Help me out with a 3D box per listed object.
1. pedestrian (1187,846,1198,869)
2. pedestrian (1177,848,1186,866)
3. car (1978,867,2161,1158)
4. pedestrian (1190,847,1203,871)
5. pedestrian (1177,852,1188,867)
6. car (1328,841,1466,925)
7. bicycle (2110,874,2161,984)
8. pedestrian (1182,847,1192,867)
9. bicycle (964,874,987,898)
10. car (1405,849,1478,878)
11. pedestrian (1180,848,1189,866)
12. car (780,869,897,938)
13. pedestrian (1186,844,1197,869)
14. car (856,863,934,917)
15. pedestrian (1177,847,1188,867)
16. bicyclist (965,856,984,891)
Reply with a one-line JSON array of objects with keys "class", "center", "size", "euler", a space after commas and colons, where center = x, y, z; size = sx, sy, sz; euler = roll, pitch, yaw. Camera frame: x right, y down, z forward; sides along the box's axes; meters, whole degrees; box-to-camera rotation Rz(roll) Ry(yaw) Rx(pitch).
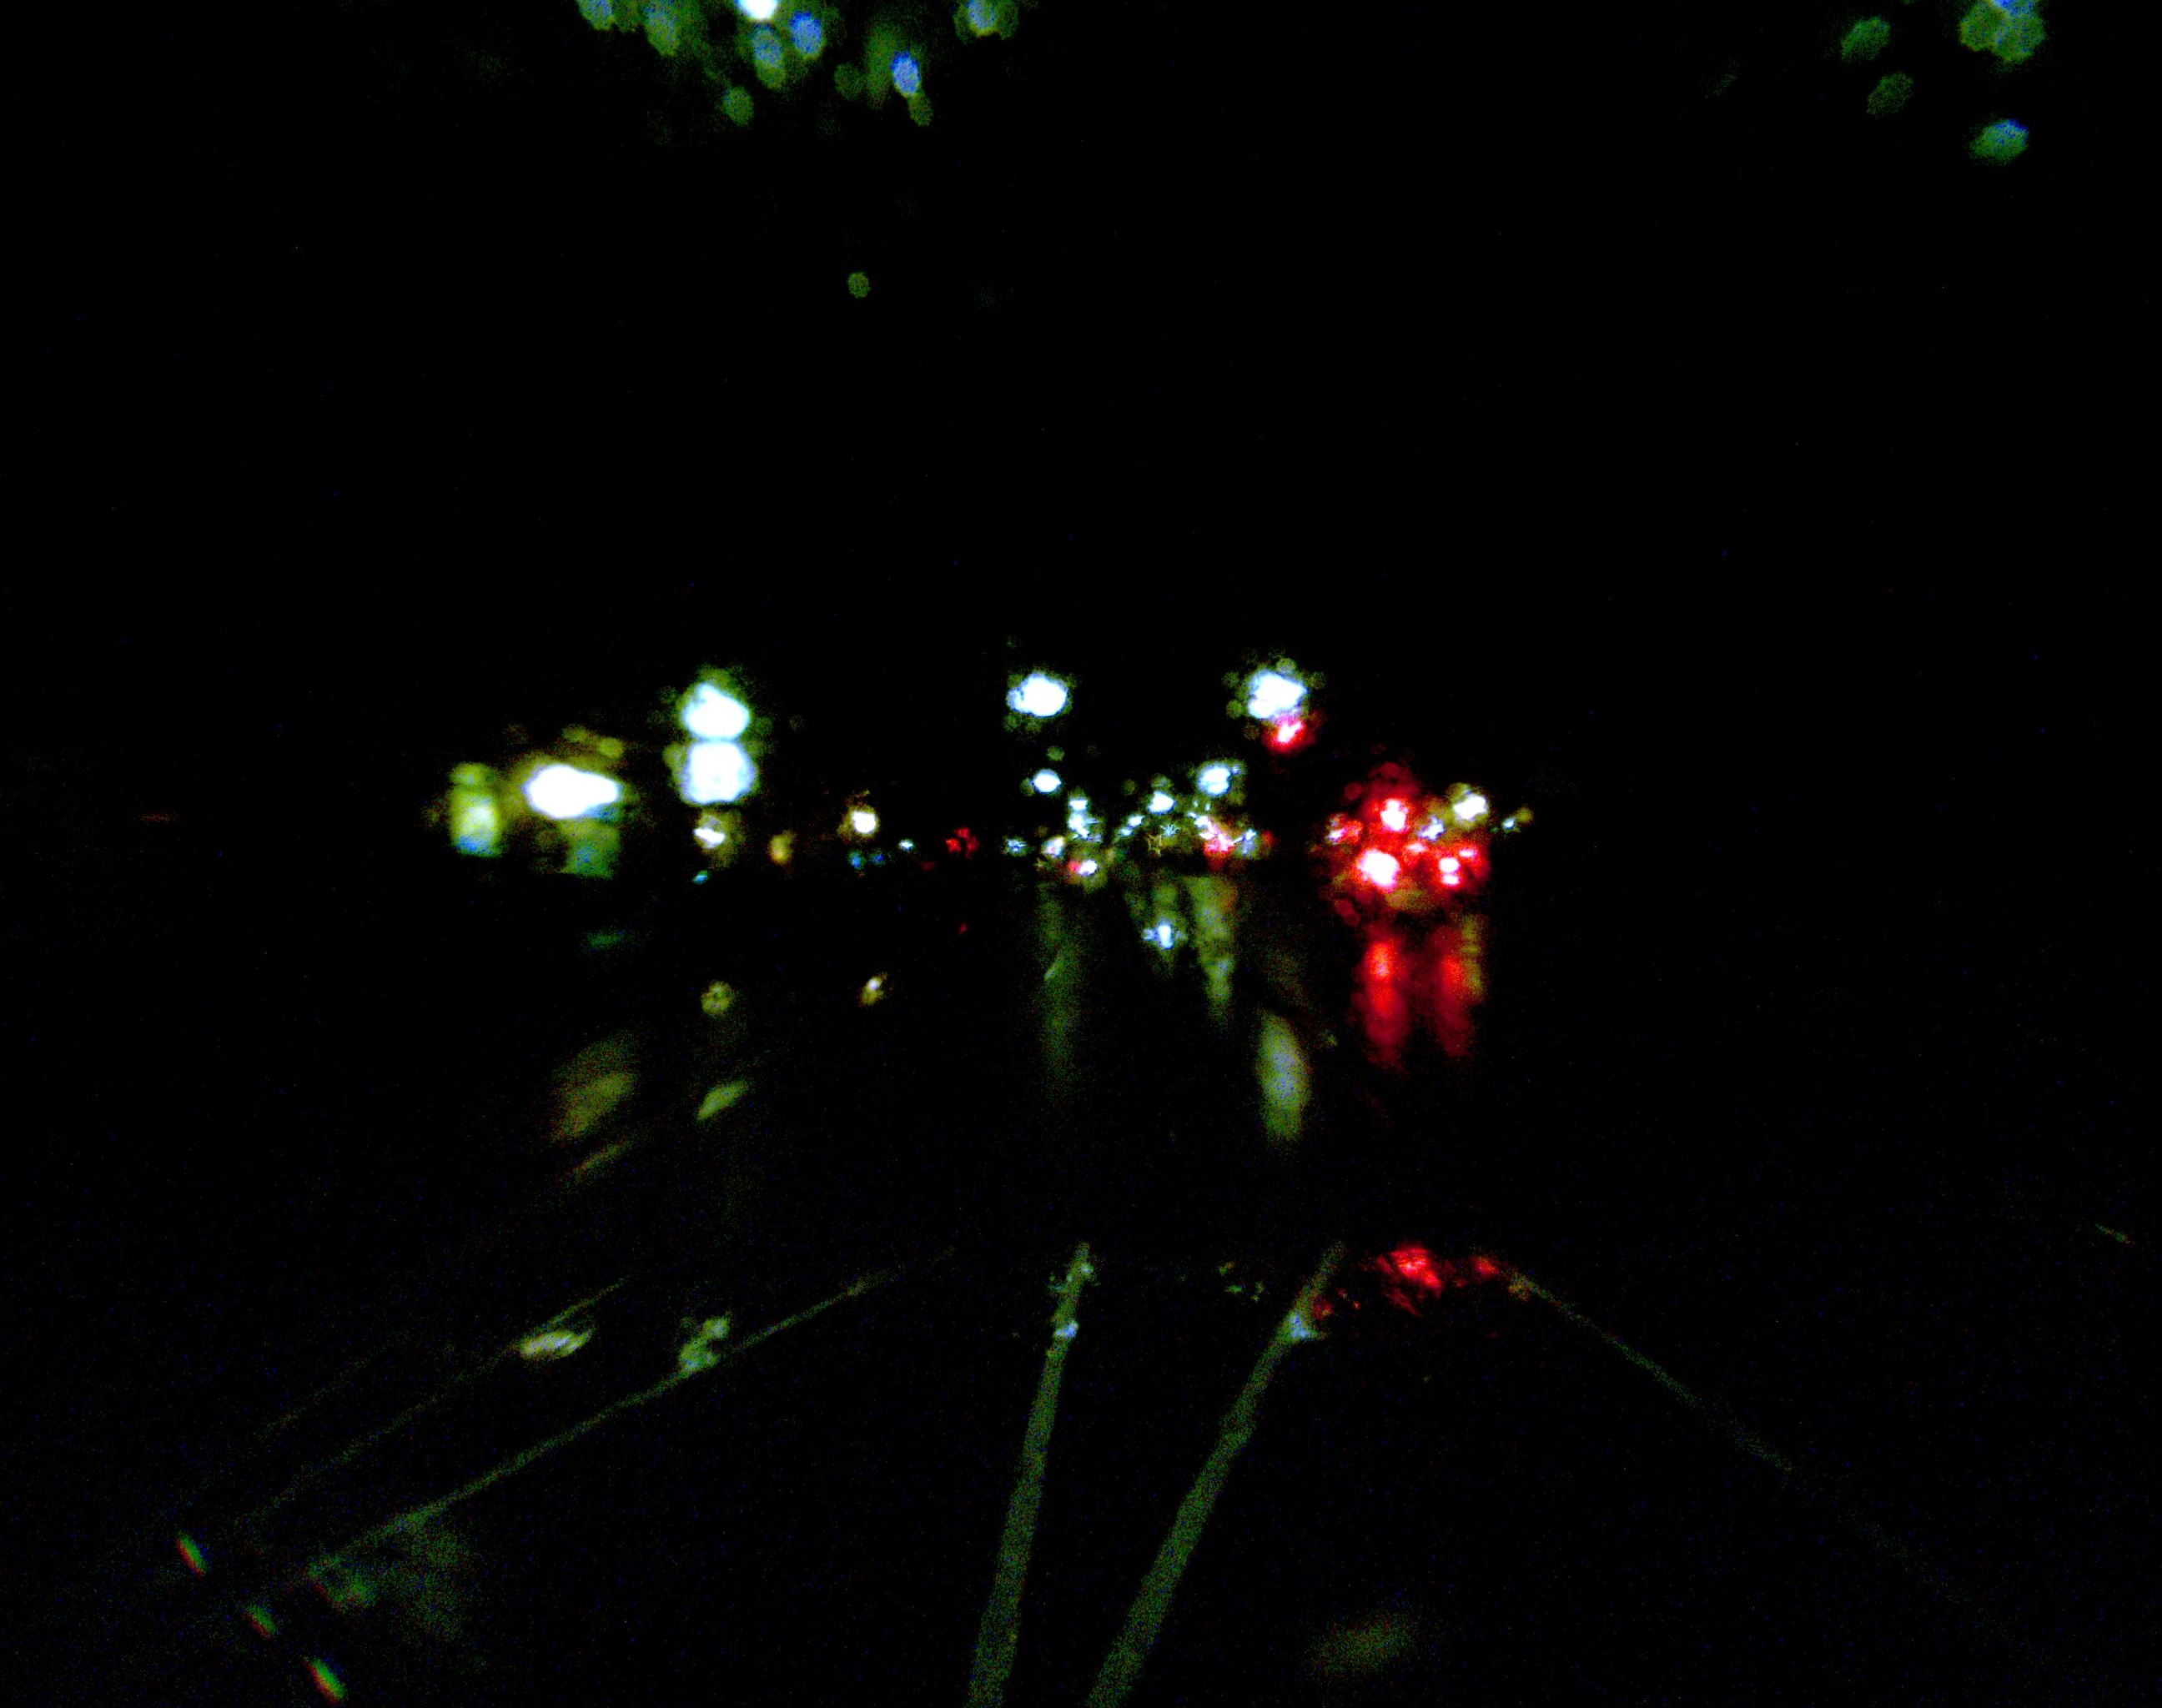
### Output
[{"class": "pedestrian", "center": [8.772, 0.265, 59.667], "size": [0.716, 1.764, 0.671], "euler": [-4, 2, 4]}, {"class": "pedestrian", "center": [8.697, 0.265, 65.815], "size": [0.512, 1.539, 0.574], "euler": [-5, 2, -16]}, {"class": "car", "center": [6.339, 0.807, 2.709], "size": [1.796, 1.456, 3.902], "euler": [-2, 0, 4]}, {"class": "pedestrian", "center": [8.748, 0.406, 57.552], "size": [0.671, 1.764, 0.716], "euler": [-4, 2, -8]}, {"class": "pedestrian", "center": [8.562, 0.452, 64.172], "size": [0.586, 1.246, 0.623], "euler": [-6, 2, -42]}, {"class": "car", "center": [7.767, 0.619, 19.186], "size": [1.899, 1.858, 4.537], "euler": [-1, 1, 5]}, {"class": "bicycle", "center": [11.925, 0.831, 7.633], "size": [0.656, 1.135, 1.898], "euler": [-4, 1, 5]}, {"class": "pedestrian", "center": [8.769, 0.275, 62.855], "size": [0.400, 1.620, 0.531], "euler": [-6, 2, -42]}, {"class": "bicycle", "center": [-4.804, 1.425, 34.393], "size": [0.573, 0.964, 1.777], "euler": [-4, 1, -21]}, {"class": "car", "center": [20.675, 0.517, 43.596], "size": [3.602, 1.507, 1.921], "euler": [-3, 1, -25]}, {"class": "pedestrian", "center": [8.876, 0.280, 65.259], "size": [0.480, 1.519, 0.585], "euler": [-5, 2, -16]}, {"class": "car", "center": [-6.106, 1.187, 19.615], "size": [1.649, 1.433, 4.055], "euler": [2, 0, 1]}, {"class": "pedestrian", "center": [8.928, 0.197, 61.356], "size": [0.609, 1.975, 0.858], "euler": [-4, 2, -1]}, {"class": "car", "center": [-5.991, 1.121, 24.871], "size": [1.651, 1.516, 3.580], "euler": [2, 0, -1]}, {"class": "pedestrian", "center": [8.464, 0.261, 63.390], "size": [0.586, 1.642, 0.558], "euler": [-6, 2, -42]}, {"class": "bicyclist", "center": [-4.835, 0.878, 34.381], "size": [0.573, 1.539, 0.814], "euler": [-4, 2, -21]}]
